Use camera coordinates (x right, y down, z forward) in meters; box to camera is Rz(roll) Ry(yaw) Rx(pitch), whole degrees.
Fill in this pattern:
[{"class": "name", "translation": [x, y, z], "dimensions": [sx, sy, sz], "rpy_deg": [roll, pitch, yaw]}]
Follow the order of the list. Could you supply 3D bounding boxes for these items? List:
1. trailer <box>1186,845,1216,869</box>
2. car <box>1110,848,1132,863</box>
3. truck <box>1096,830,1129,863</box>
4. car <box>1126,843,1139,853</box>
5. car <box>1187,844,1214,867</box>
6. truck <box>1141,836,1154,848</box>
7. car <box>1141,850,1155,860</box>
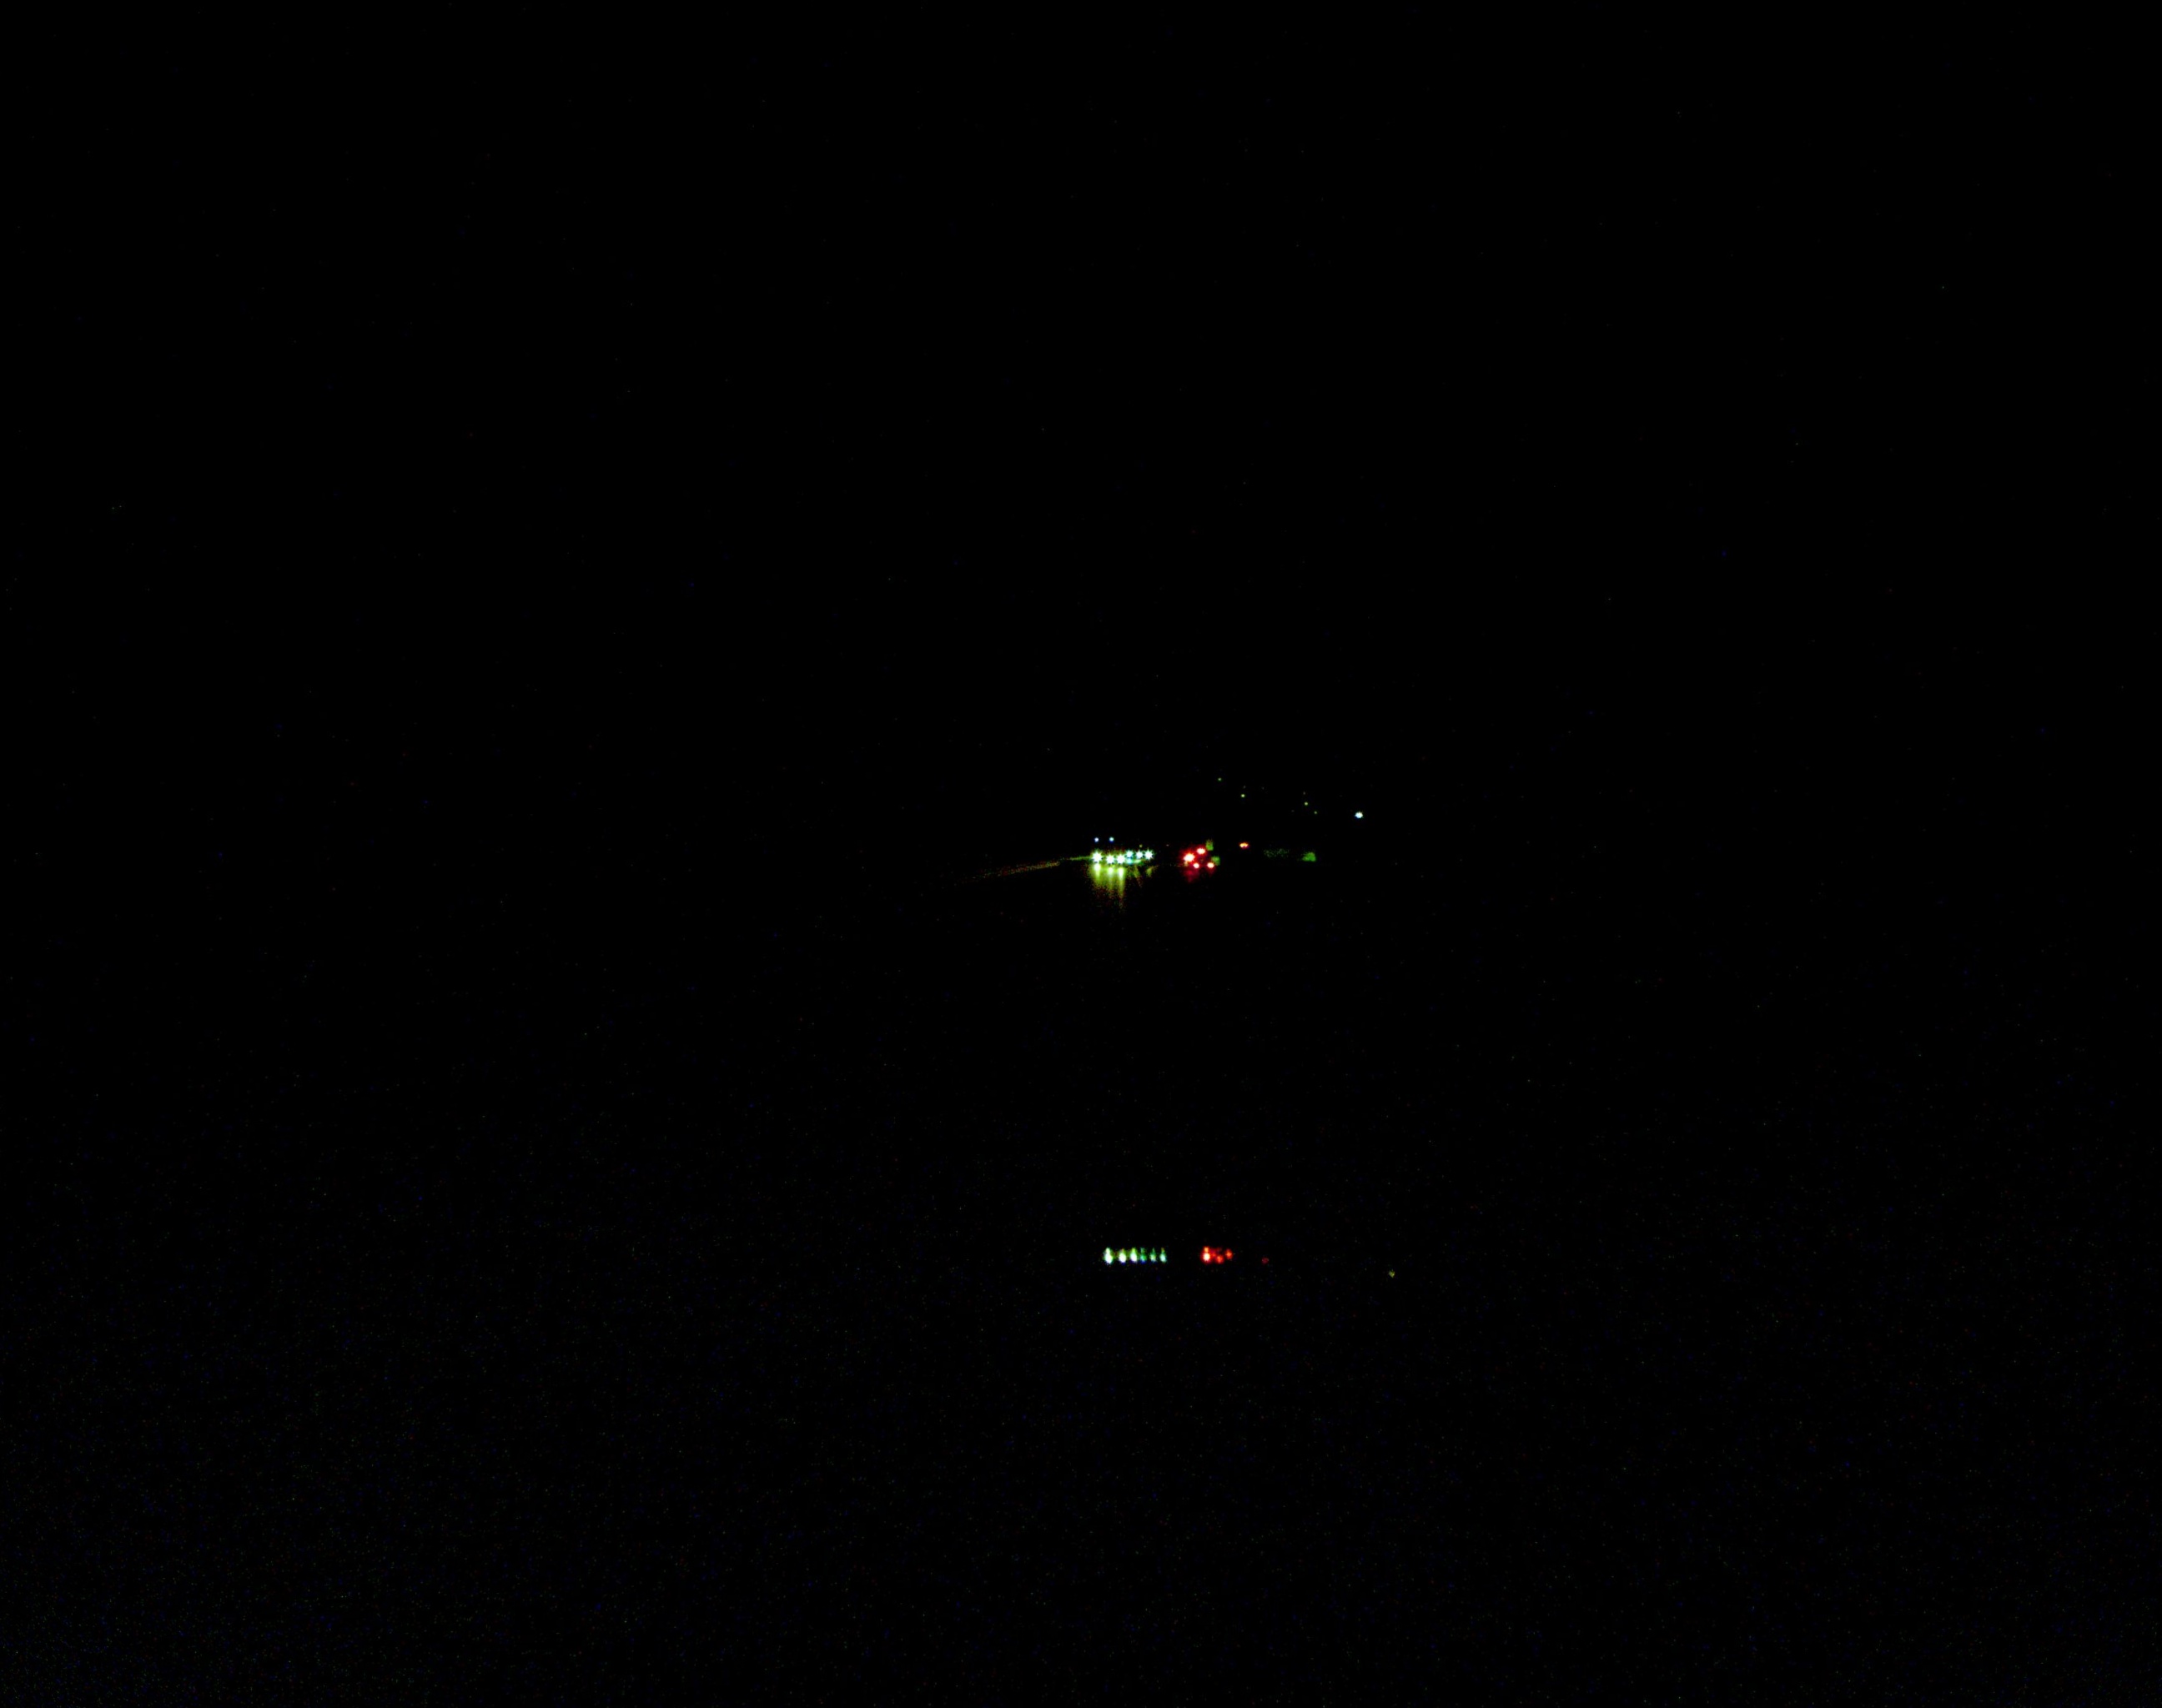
[{"class": "trailer", "translation": [8.834, 0.182, 56.095], "dimensions": [2.017, 1.630, 3.418], "rpy_deg": [-1, 1, 7]}, {"class": "car", "translation": [4.134, 0.145, 78.947], "dimensions": [1.811, 1.508, 3.938], "rpy_deg": [-1, 0, 10]}, {"class": "truck", "translation": [4.619, -1.222, 107.660], "dimensions": [2.970, 4.251, 17.151], "rpy_deg": [-1, 1, 8]}, {"class": "car", "translation": [8.999, -1.023, 131.938], "dimensions": [1.689, 1.619, 4.727], "rpy_deg": [-1, 0, 11]}, {"class": "car", "translation": [9.418, 0.106, 60.181], "dimensions": [2.017, 1.630, 4.864], "rpy_deg": [-1, 1, 8]}, {"class": "truck", "translation": [14.073, -2.585, 160.914], "dimensions": [2.425, 2.410, 7.094], "rpy_deg": [-1, 1, 7]}, {"class": "car", "translation": [10.694, 0.146, 121.204], "dimensions": [1.811, 1.508, 3.939], "rpy_deg": [-1, 0, 12]}]
